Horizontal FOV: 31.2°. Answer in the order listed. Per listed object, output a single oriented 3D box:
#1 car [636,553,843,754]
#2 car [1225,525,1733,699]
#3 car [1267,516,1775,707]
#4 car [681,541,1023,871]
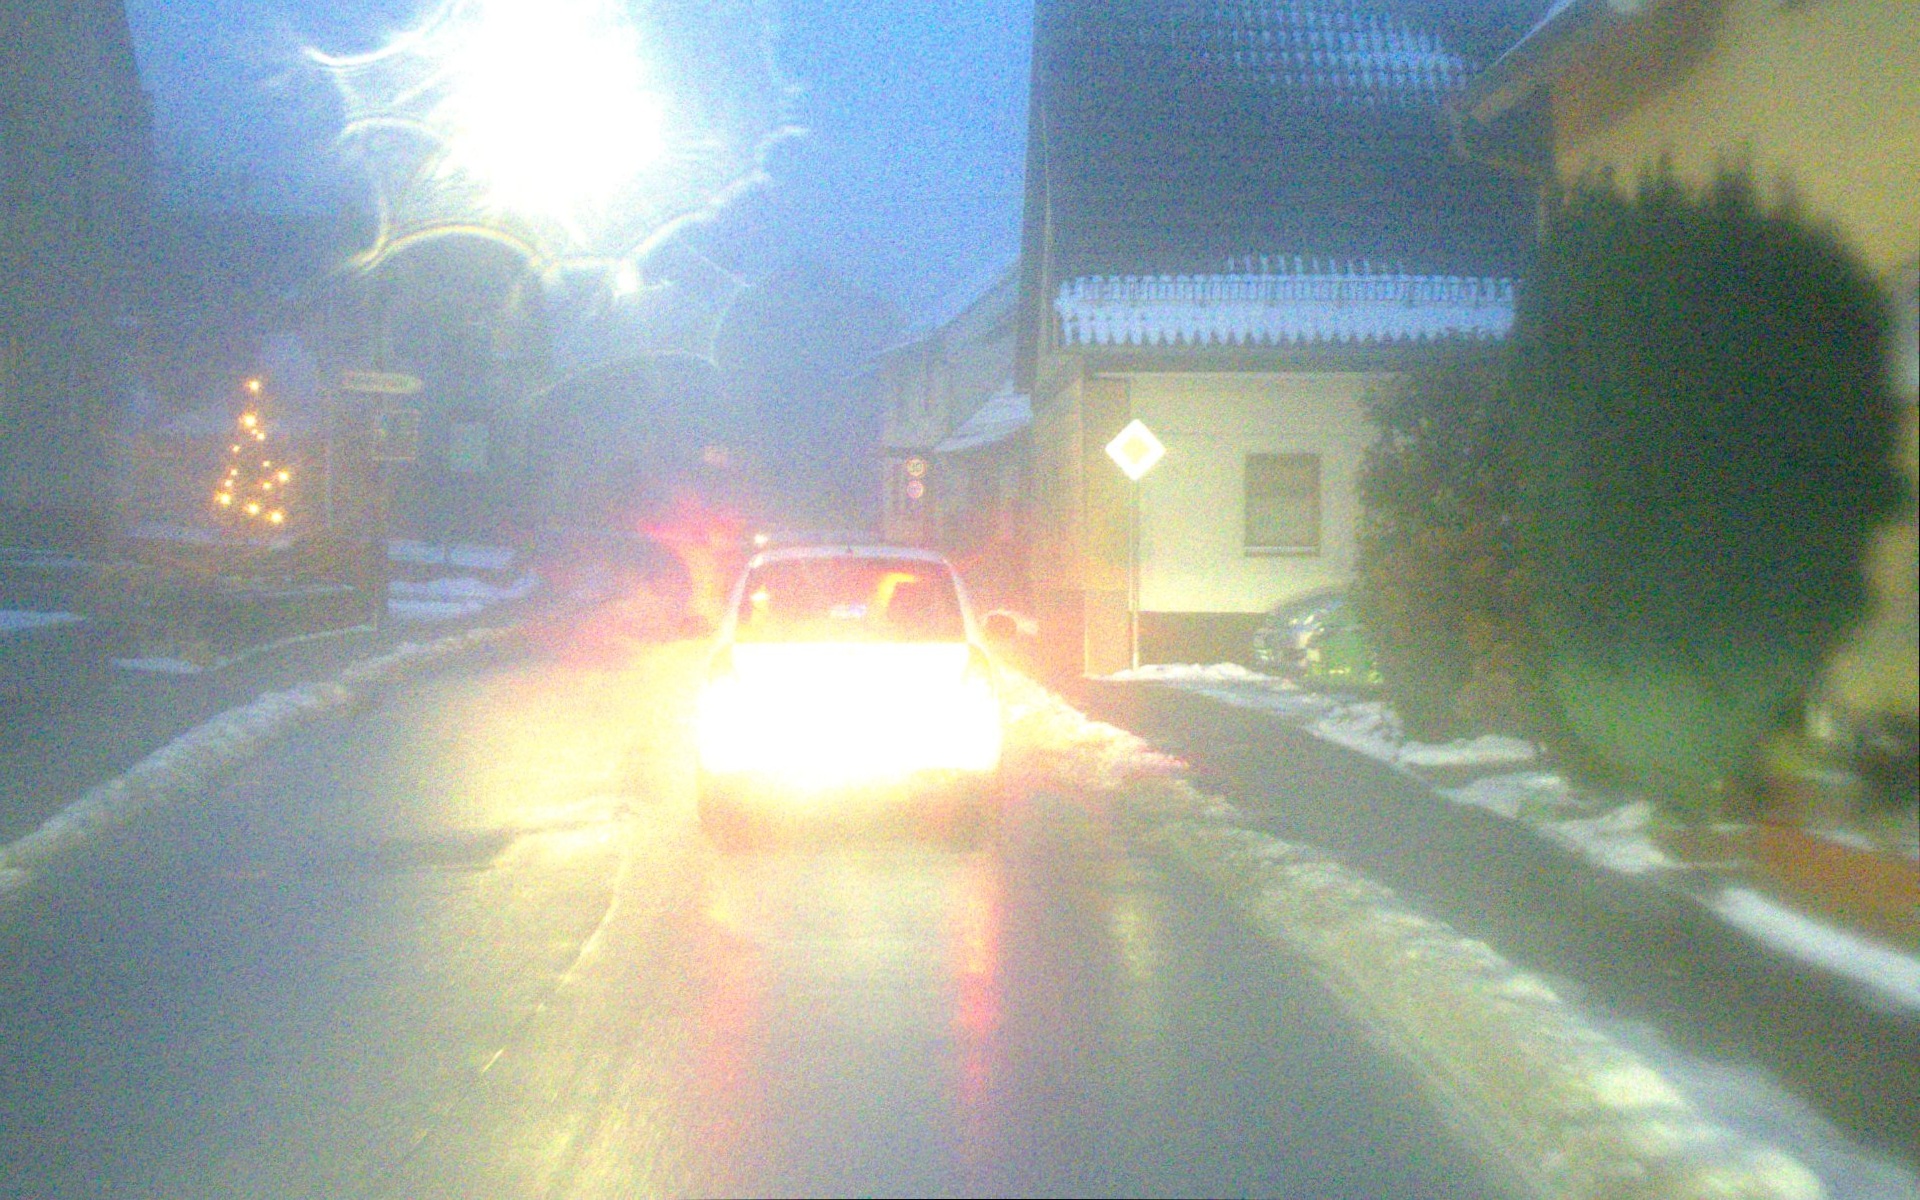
[{"bbox_3d":[-1.925,0.429,29.917,1.645,1.590,3.700,2,0,-4],"label":"car"},{"bbox_3d":[4.656,0.092,31.194,4.169,1.428,1.902,1,2,-6],"label":"car"},{"bbox_3d":[4.553,0.063,28.212,3.740,1.491,1.822,0,1,-7],"label":"car"},{"bbox_3d":[-0.622,0.519,18.882,1.645,1.590,3.700,2,0,-3],"label":"car"}]
